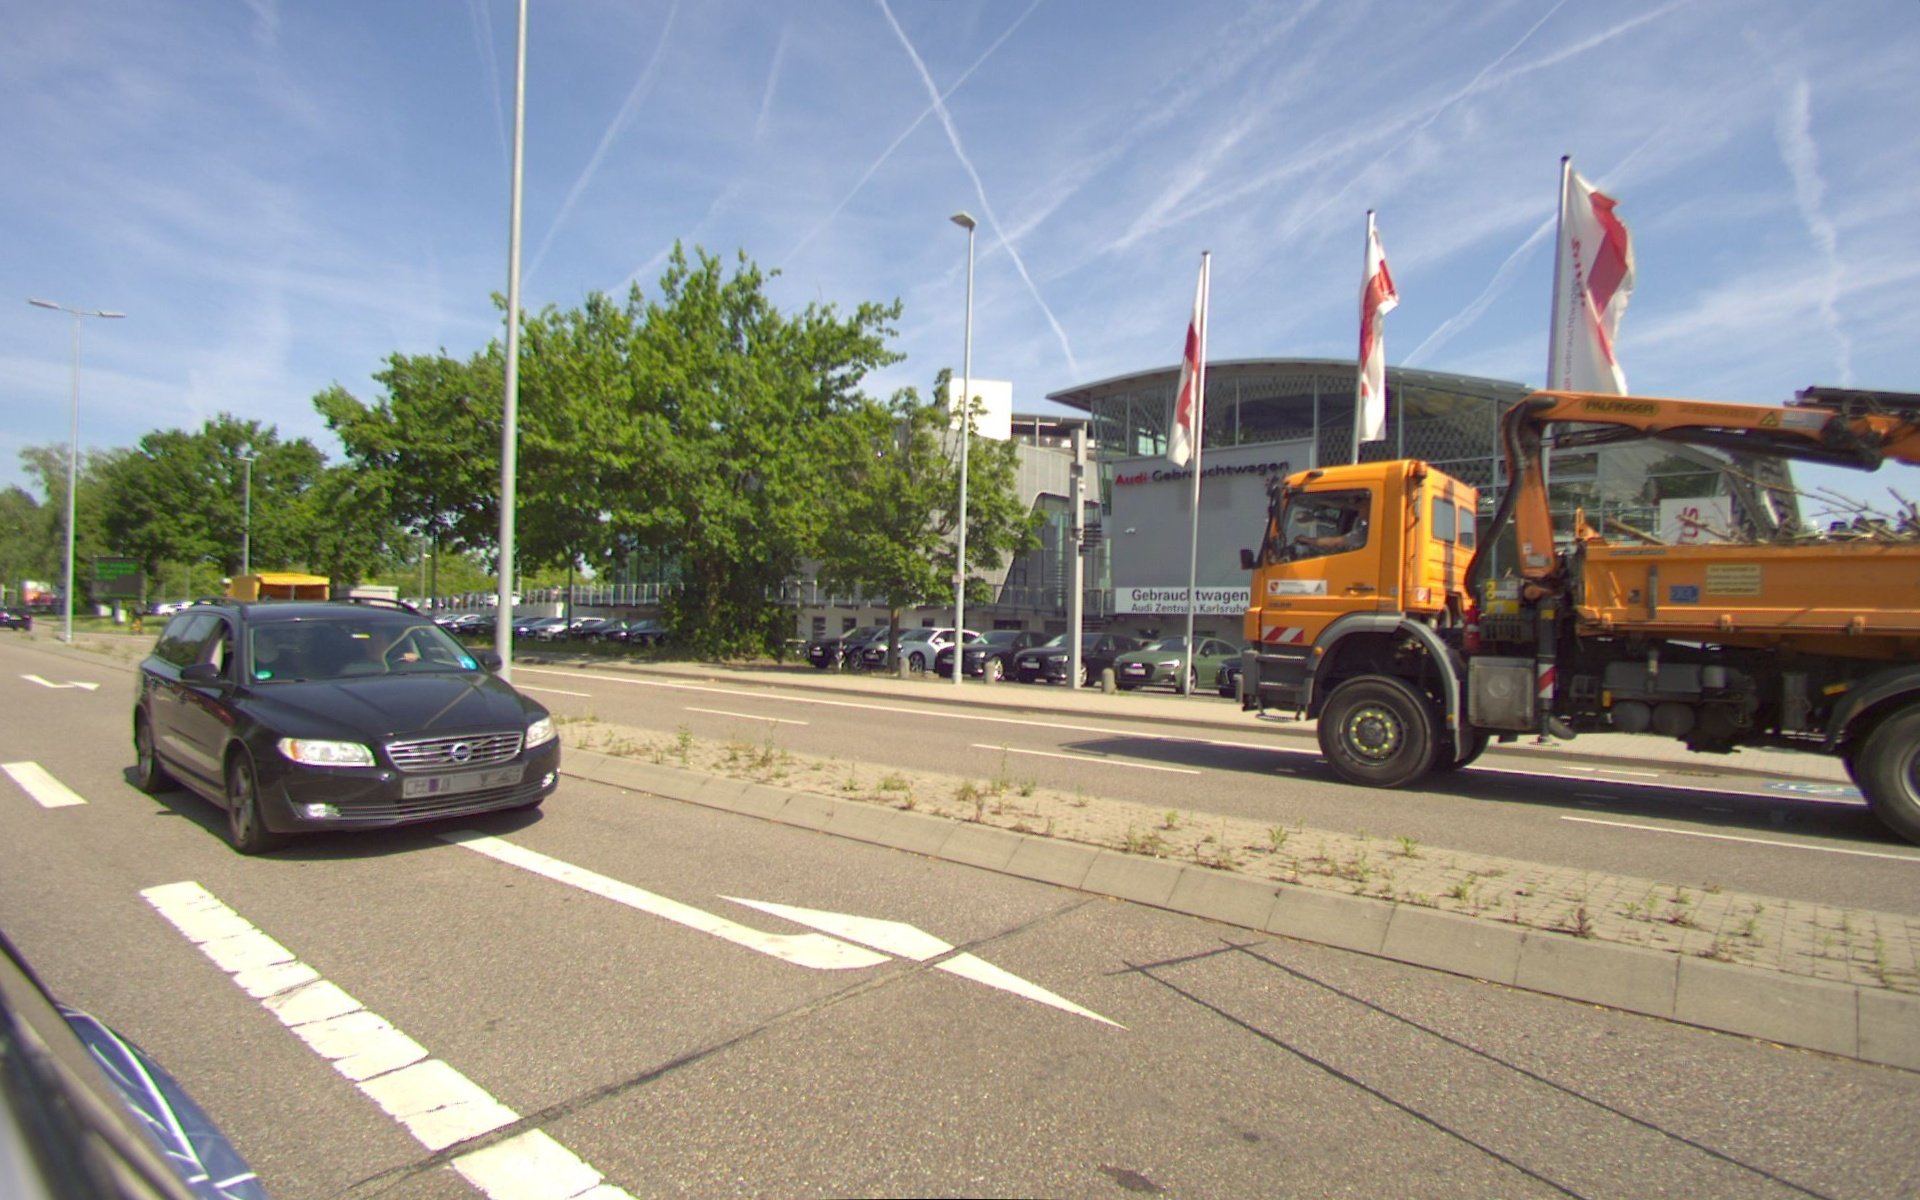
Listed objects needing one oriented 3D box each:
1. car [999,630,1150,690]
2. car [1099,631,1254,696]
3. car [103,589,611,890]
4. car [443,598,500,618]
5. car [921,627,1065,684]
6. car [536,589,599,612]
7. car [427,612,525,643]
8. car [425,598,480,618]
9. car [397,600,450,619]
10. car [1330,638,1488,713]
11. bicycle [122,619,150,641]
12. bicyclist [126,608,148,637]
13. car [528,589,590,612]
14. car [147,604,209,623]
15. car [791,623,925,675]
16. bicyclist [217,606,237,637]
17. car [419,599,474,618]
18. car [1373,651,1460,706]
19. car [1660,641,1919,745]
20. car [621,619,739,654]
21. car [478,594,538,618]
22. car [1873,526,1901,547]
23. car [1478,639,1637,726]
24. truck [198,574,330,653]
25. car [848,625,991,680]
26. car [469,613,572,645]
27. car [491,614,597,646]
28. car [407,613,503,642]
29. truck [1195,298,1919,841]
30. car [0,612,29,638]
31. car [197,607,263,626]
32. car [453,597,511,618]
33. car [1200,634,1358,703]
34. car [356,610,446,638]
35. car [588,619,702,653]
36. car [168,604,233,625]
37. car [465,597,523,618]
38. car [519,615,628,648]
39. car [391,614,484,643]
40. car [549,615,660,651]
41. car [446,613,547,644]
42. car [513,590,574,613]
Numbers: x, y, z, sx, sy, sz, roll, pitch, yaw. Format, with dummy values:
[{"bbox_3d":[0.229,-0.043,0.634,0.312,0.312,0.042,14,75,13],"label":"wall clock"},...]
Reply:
[{"bbox_3d":[3.045,1.576,26.117,1.828,1.365,4.237,0,-4,40],"label":"car"},{"bbox_3d":[5.236,1.549,24.102,1.853,1.345,4.132,0,-5,40],"label":"car"},{"bbox_3d":[-4.686,0.716,7.477,4.867,1.533,1.858,0,0,42],"label":"car"},{"bbox_3d":[-43.287,0.741,89.715,1.690,1.510,4.141,0,-5,42],"label":"car"},{"bbox_3d":[0.977,1.551,27.858,1.834,1.365,4.069,0,-4,39],"label":"car"},{"bbox_3d":[-30.115,0.041,77.709,1.690,1.416,4.141,0,-5,42],"label":"car"},{"bbox_3d":[-24.678,1.405,51.708,1.690,1.309,4.141,0,-5,42],"label":"car"},{"bbox_3d":[-46.078,0.772,91.942,1.690,1.510,4.141,0,-5,42],"label":"car"},{"bbox_3d":[-51.350,0.888,96.929,1.690,1.510,4.141,0,-5,42],"label":"car"},{"bbox_3d":[9.201,1.550,20.558,1.868,1.329,3.945,0,-5,41],"label":"car"},{"bbox_3d":[-45.324,1.631,55.686,1.763,1.159,0.567,0,-3,30],"label":"bicycle"},{"bbox_3d":[-45.253,1.234,55.633,0.907,1.608,0.572,0,-3,30],"label":"bicyclist"},{"bbox_3d":[-31.662,0.076,79.938,1.690,1.510,4.141,0,-5,42],"label":"car"},{"bbox_3d":[-71.314,1.242,92.318,1.690,1.389,4.141,0,-5,42],"label":"car"},{"bbox_3d":[-3.099,1.552,31.434,1.808,1.412,3.983,0,-4,40],"label":"car"},{"bbox_3d":[-35.257,1.043,48.683,1.144,1.494,0.564,-1,-2,44],"label":"bicyclist"},{"bbox_3d":[-47.567,0.814,93.721,1.690,1.510,4.141,0,-5,42],"label":"car"},{"bbox_3d":[13.750,2.318,30.421,1.522,1.484,3.472,0,-2,40],"label":"car"},{"bbox_3d":[14.414,1.487,16.822,4.423,1.507,1.779,0,-2,42],"label":"car"},{"bbox_3d":[-10.868,1.440,39.519,1.695,1.143,4.141,0,-5,42],"label":"car"},{"bbox_3d":[-37.860,0.525,84.864,1.690,1.745,4.141,0,-5,42],"label":"car"},{"bbox_3d":[92.757,-6.310,101.341,2.037,1.729,3.944,0,-2,42],"label":"car"},{"bbox_3d":[11.176,1.535,18.805,1.877,1.380,4.030,0,-5,41],"label":"car"},{"bbox_3d":[-25.595,0.510,37.098,6.669,2.645,2.350,-1,-2,41],"label":"truck"},{"bbox_3d":[-1.100,1.564,29.593,1.801,1.405,4.172,0,-5,40],"label":"car"},{"bbox_3d":[-20.808,1.384,48.032,1.690,1.264,4.141,0,-5,42],"label":"car"},{"bbox_3d":[-18.974,1.405,46.293,1.690,1.214,4.141,0,-5,42],"label":"car"},{"bbox_3d":[-26.664,1.453,53.519,1.690,1.265,4.141,0,-5,42],"label":"car"},{"bbox_3d":[6.198,-0.152,8.925,7.571,3.708,2.719,0,-3,39],"label":"truck"},{"bbox_3d":[-57.476,1.478,60.616,4.660,1.471,1.828,0,-4,40],"label":"car"},{"bbox_3d":[-60.775,1.384,84.303,1.690,1.333,4.141,0,-5,42],"label":"car"},{"bbox_3d":[-41.619,0.695,88.144,1.690,1.510,4.141,0,-5,42],"label":"car"},{"bbox_3d":[7.078,1.530,22.264,1.837,1.329,3.944,0,-5,42],"label":"car"},{"bbox_3d":[-32.255,1.409,58.476,1.690,1.333,4.141,0,-5,42],"label":"car"},{"bbox_3d":[-12.849,1.478,41.442,1.719,1.131,4.141,0,-5,42],"label":"car"},{"bbox_3d":[-65.421,1.260,87.235,1.690,1.510,4.141,0,-5,42],"label":"car"},{"bbox_3d":[-39.858,0.678,86.614,1.690,1.510,4.141,0,-5,42],"label":"car"},{"bbox_3d":[-17.056,1.412,44.761,1.690,1.204,4.141,0,-5,42],"label":"car"},{"bbox_3d":[-28.423,1.553,55.159,1.690,1.335,4.141,0,-5,42],"label":"car"},{"bbox_3d":[-15.115,1.423,43.189,1.690,1.256,4.141,0,-5,42],"label":"car"},{"bbox_3d":[-22.780,1.412,49.872,1.690,1.269,4.141,0,-5,42],"label":"car"},{"bbox_3d":[-33.653,0.113,81.812,1.690,1.510,4.141,0,-5,42],"label":"car"}]
